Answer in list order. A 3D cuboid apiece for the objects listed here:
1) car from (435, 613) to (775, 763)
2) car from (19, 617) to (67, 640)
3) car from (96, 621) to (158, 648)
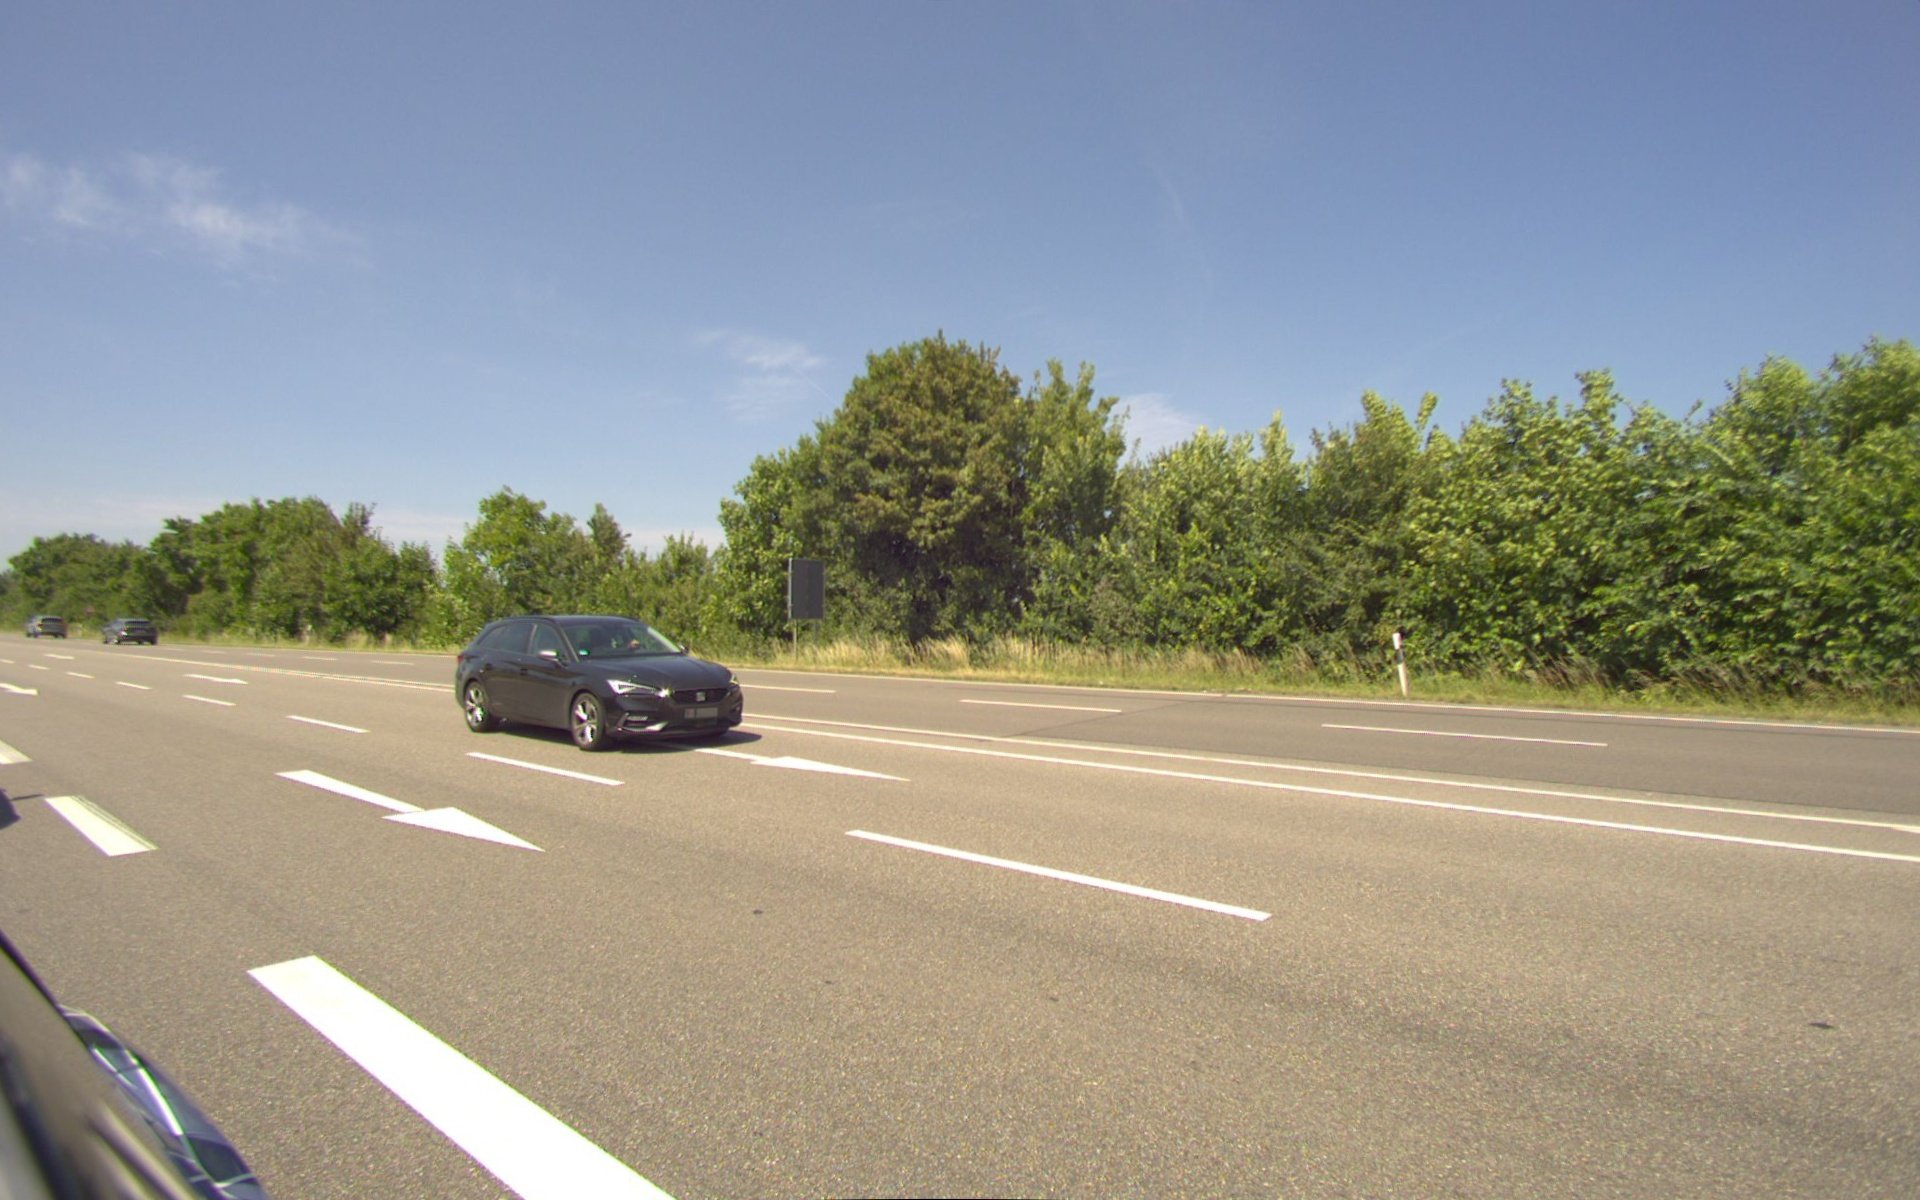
[{"bbox_3d":[-4.390,0.888,12.145,4.523,1.458,1.869,-1,-1,41],"label":"car"},{"bbox_3d":[-68.654,2.131,75.756,4.564,1.652,2.008,-1,0,39],"label":"car"},{"bbox_3d":[-46.883,1.914,56.922,4.526,1.408,1.860,-1,-1,39],"label":"car"}]
